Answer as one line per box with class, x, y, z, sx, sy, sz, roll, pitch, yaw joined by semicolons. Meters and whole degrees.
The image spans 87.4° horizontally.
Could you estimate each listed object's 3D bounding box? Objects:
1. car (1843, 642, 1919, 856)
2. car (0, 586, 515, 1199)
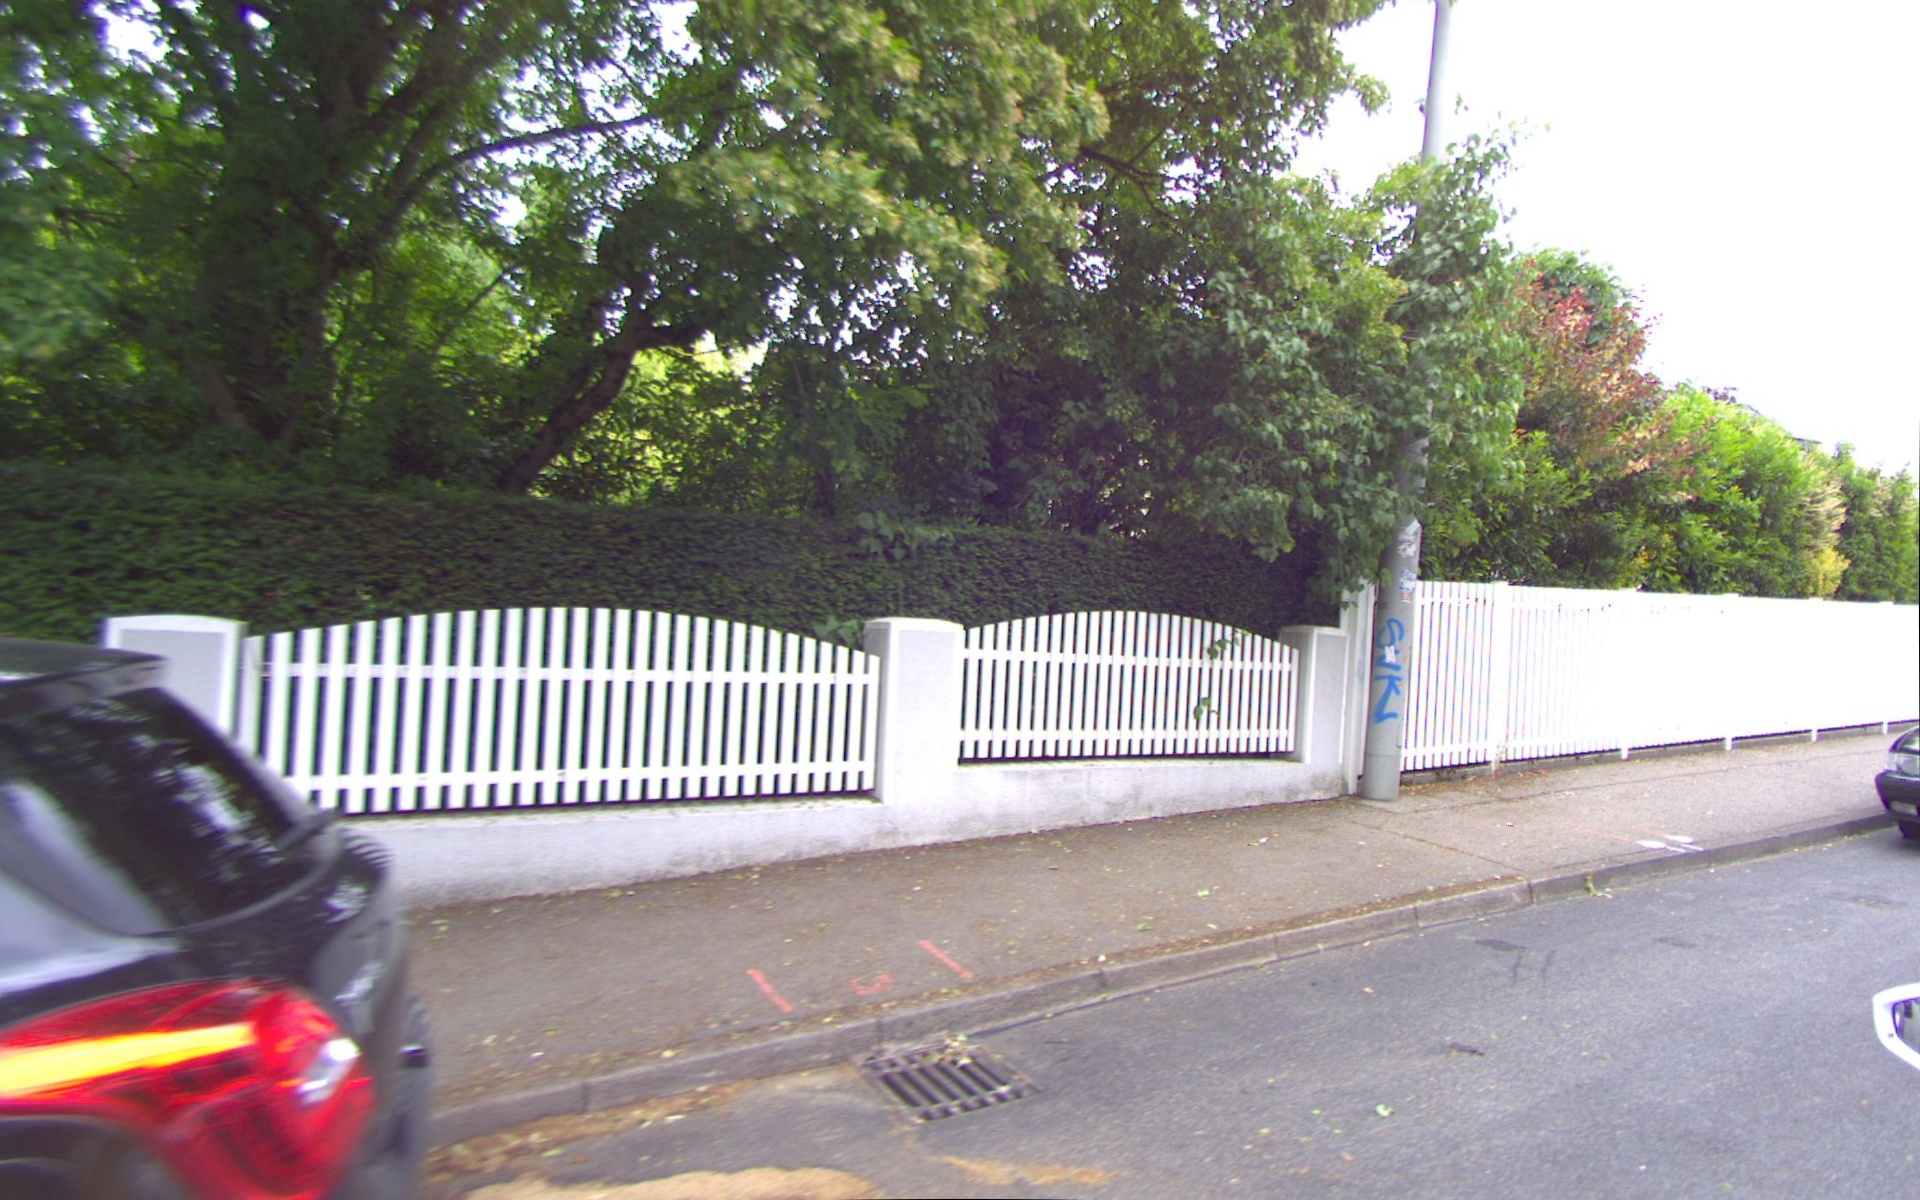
car;8.637;1.040;7.465;4.492;1.441;1.634;1;-3;-28
car;-2.592;0.740;0.945;3.841;1.500;1.648;1;-3;-30
